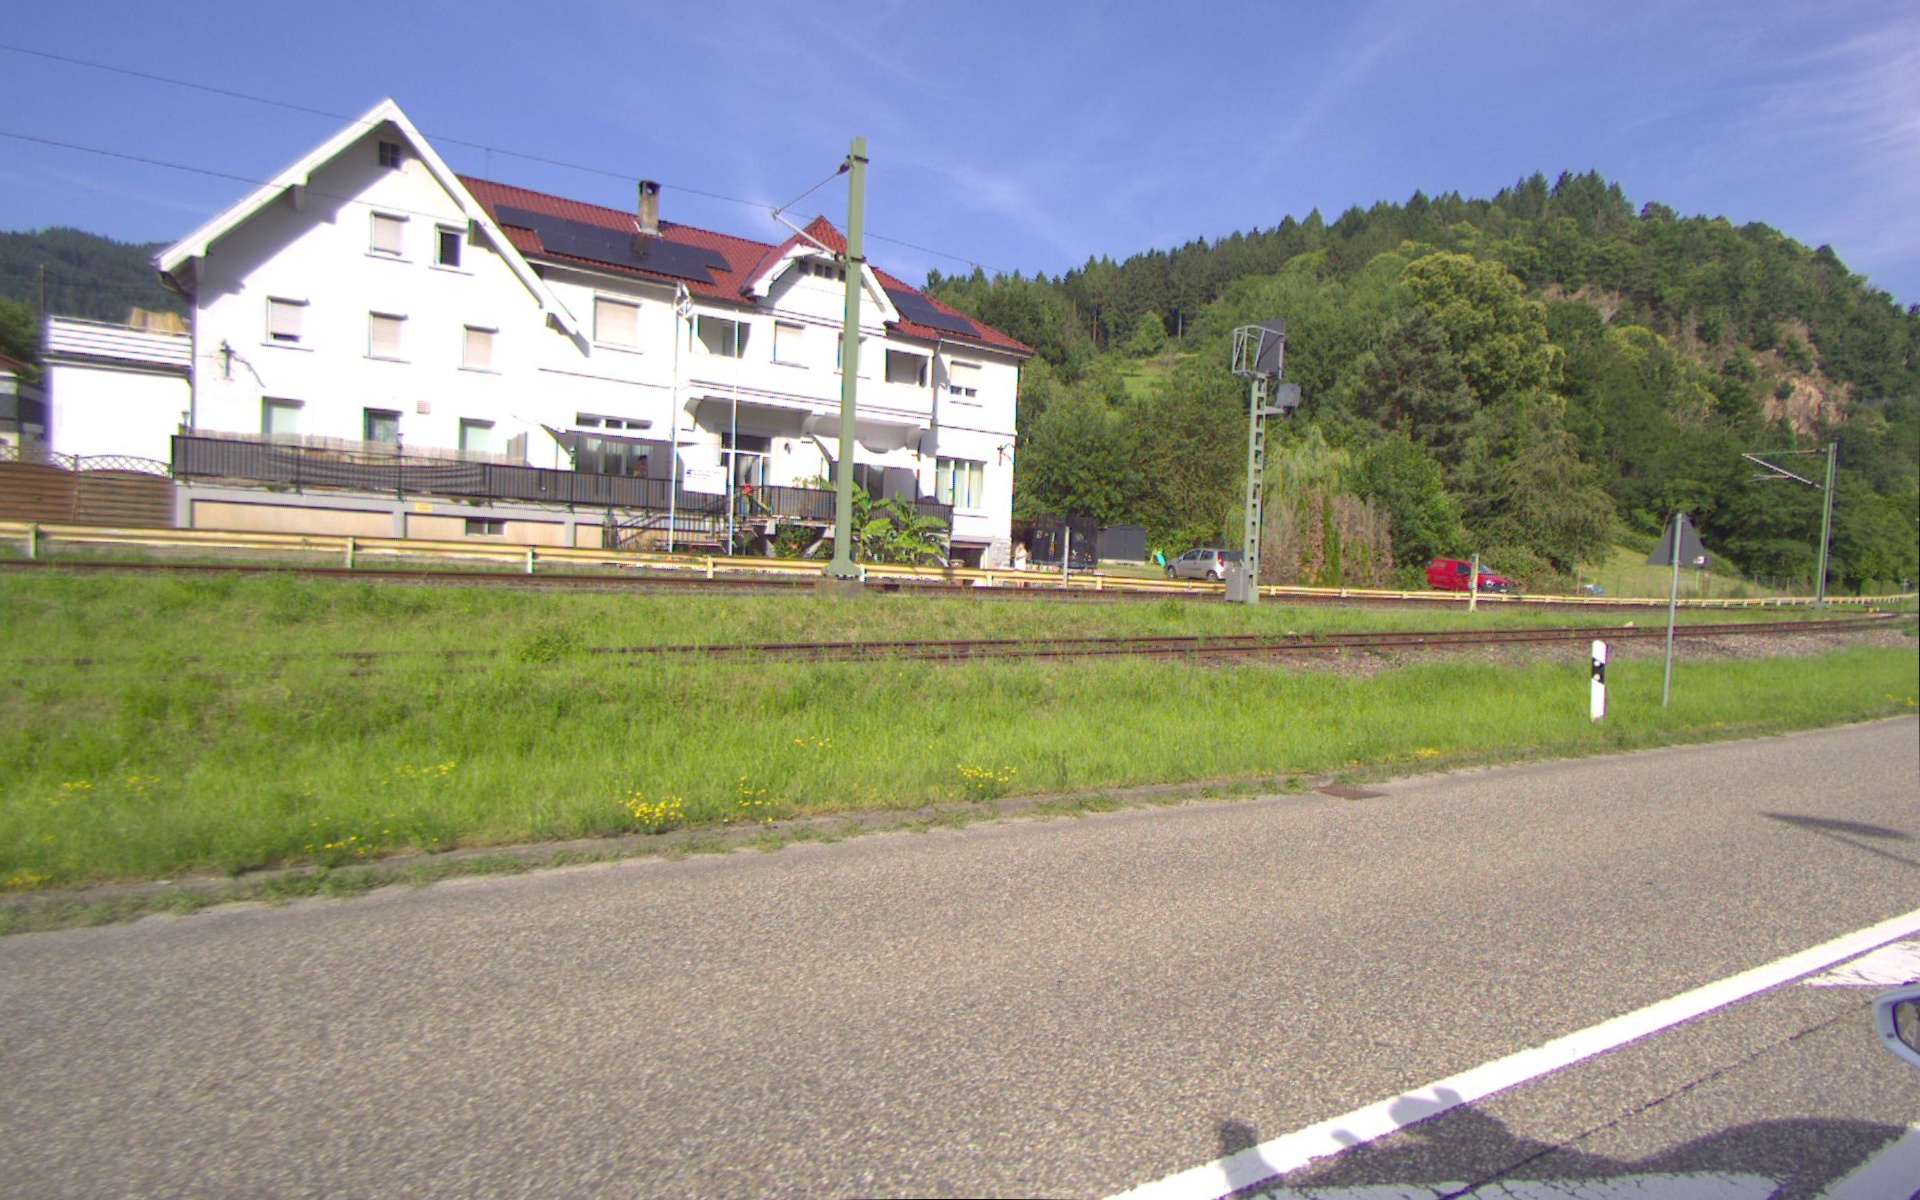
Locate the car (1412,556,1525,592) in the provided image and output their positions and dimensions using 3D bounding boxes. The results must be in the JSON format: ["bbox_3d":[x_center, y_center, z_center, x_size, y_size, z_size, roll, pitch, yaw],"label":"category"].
[{"bbox_3d":[27.316,-1.421,54.145,2.425,1.714,4.944,1,2,-28],"label":"car"}]

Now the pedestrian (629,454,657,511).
[{"bbox_3d":[-9.658,-3.562,30.593,0.670,1.638,0.603,1,3,-31],"label":"pedestrian"}]

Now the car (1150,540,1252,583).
[{"bbox_3d":[10.368,-1.676,43.486,1.977,1.714,4.124,1,2,-30],"label":"car"}]

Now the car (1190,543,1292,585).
[{"bbox_3d":[12.407,-1.625,44.621,1.977,1.714,4.124,1,2,-30],"label":"car"}]

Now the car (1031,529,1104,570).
[{"bbox_3d":[5.467,-2.620,51.714,1.796,1.814,3.971,1,5,-27],"label":"car"}]

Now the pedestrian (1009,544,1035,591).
[{"bbox_3d":[2.199,-1.160,35.607,0.601,1.638,0.672,1,3,-31],"label":"pedestrian"}]
